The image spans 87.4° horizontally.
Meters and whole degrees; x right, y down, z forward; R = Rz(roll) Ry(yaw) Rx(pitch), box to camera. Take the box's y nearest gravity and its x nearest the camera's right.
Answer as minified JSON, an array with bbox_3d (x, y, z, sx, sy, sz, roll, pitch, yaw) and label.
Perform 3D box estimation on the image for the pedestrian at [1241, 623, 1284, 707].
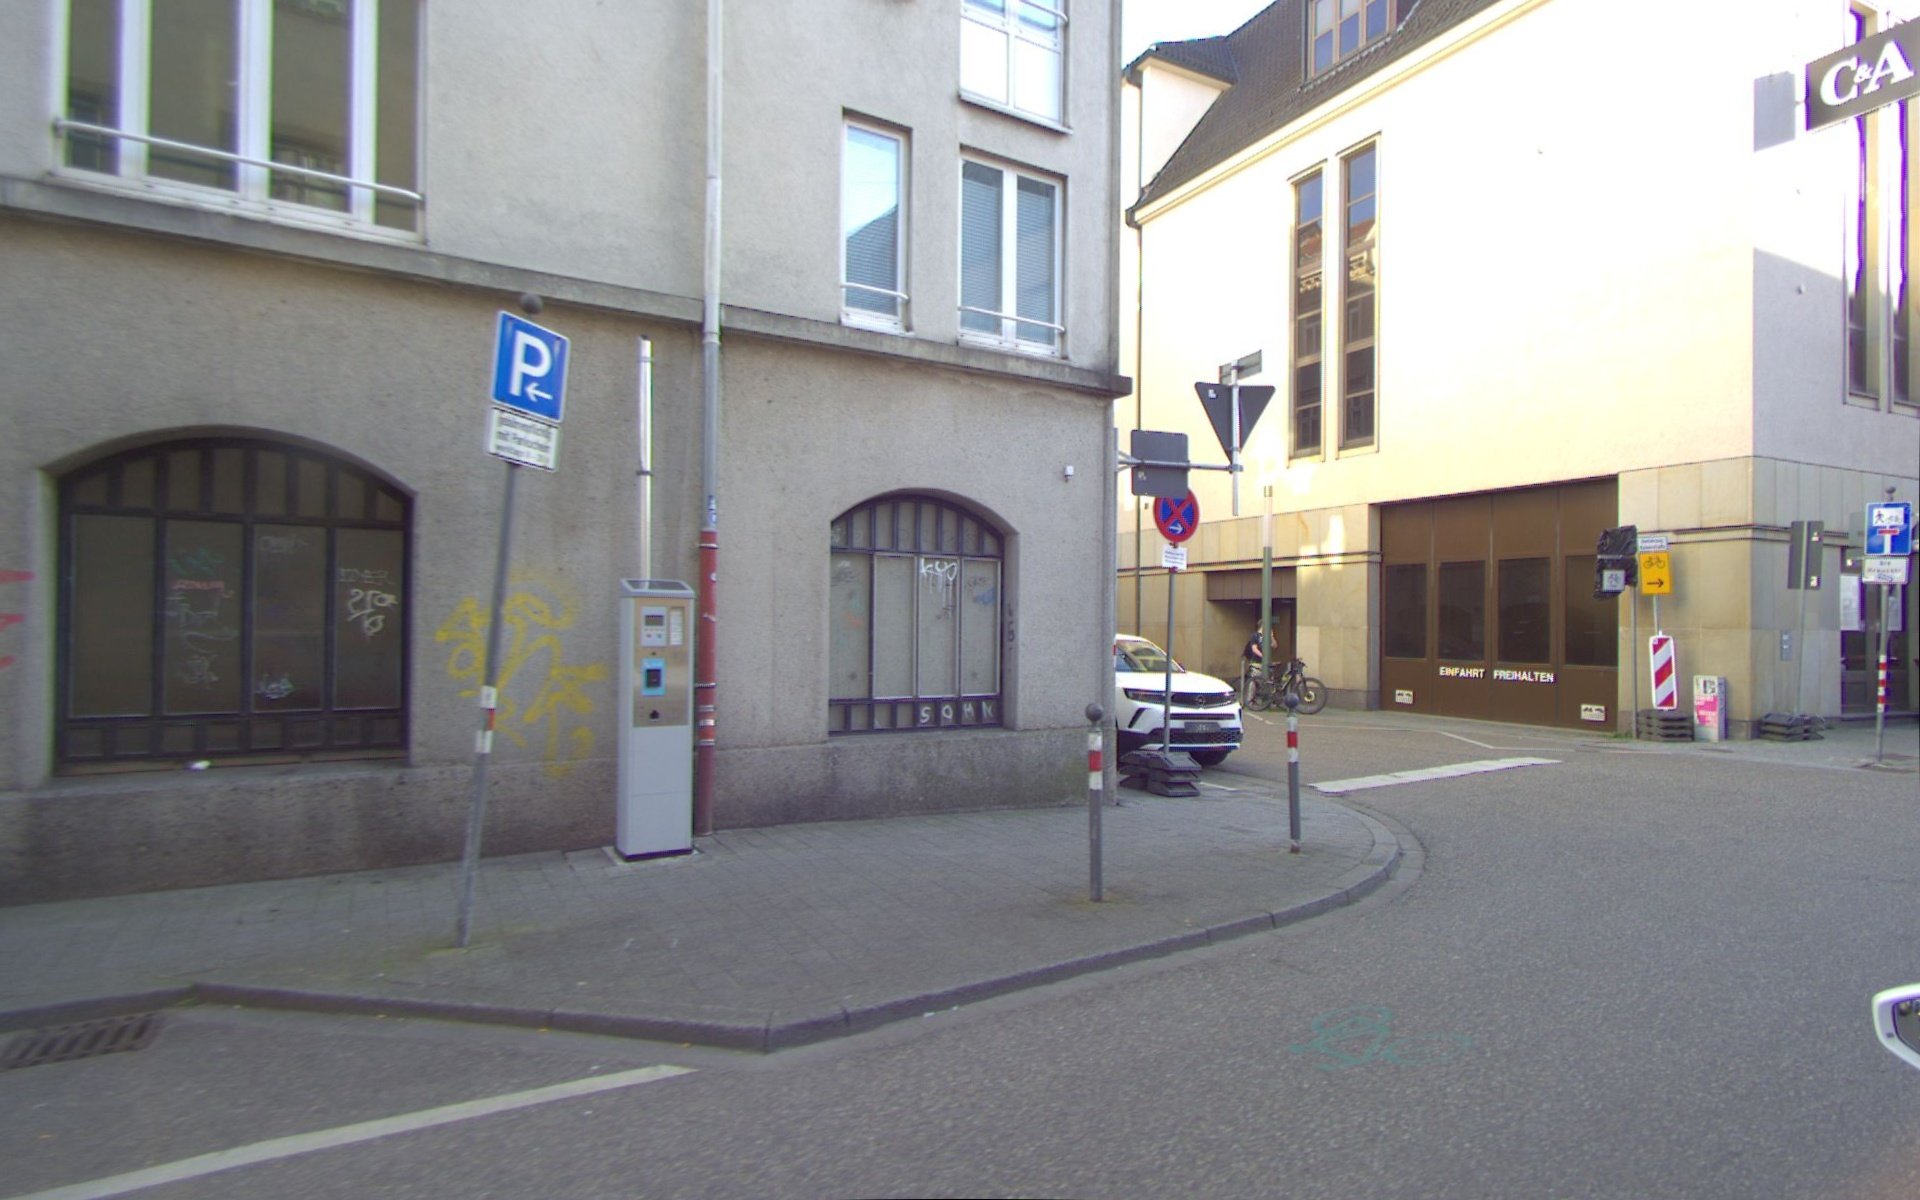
[{"bbox_3d":[6.353,1.345,21.086,0.681,1.725,0.663,0,0,36],"label":"pedestrian"}]

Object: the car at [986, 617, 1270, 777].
[{"bbox_3d":[1.916,1.085,12.716,1.738,1.677,3.979,1,-2,-22],"label":"car"}]

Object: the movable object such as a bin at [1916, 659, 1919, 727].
[{"bbox_3d":[15.775,1.499,15.999,0.705,1.075,0.605,2,1,-32],"label":"movable object such as a bin"}]

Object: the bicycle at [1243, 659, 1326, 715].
[{"bbox_3d":[6.292,1.674,19.539,0.223,0.978,1.680,1,-1,-39],"label":"bicycle"}]

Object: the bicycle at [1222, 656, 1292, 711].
[{"bbox_3d":[6.002,1.674,20.348,0.268,1.017,1.472,1,-1,-38],"label":"bicycle"}]
